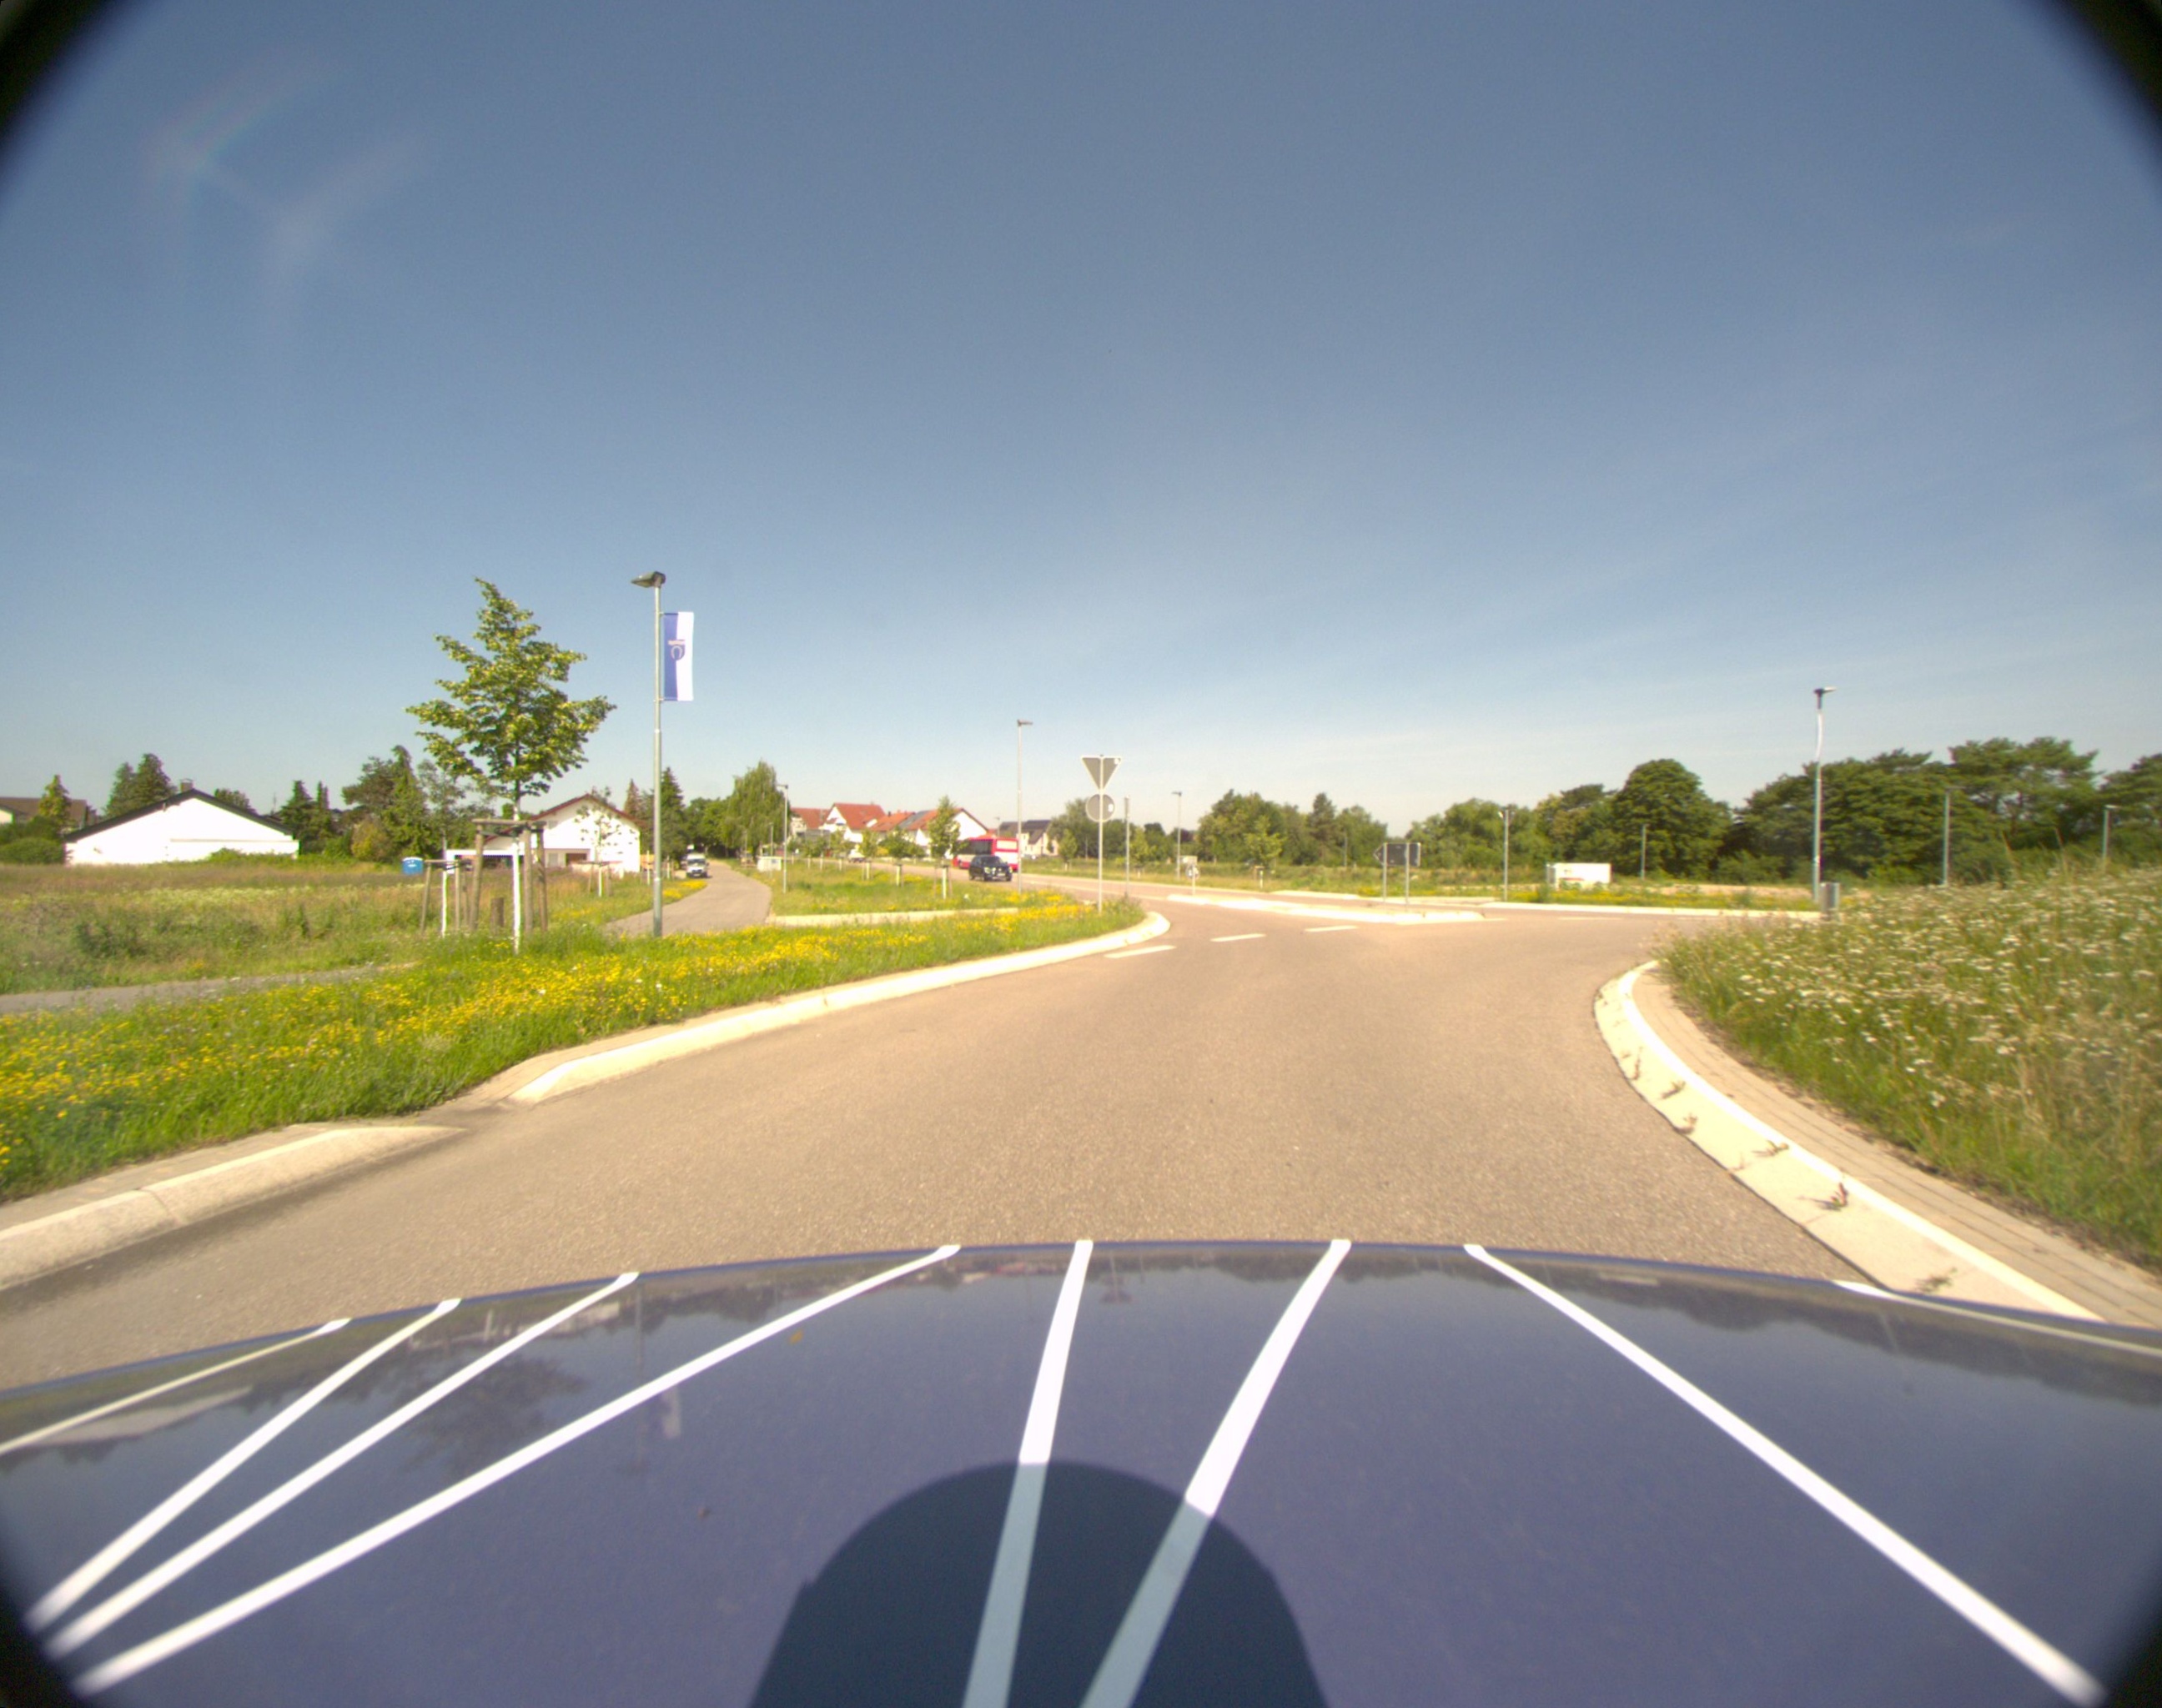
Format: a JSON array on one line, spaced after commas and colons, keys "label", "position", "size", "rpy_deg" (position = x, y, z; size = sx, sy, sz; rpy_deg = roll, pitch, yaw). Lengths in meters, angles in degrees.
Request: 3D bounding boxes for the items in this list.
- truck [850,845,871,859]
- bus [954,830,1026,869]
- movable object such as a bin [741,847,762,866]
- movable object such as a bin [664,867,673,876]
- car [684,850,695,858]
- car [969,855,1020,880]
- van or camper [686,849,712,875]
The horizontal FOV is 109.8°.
[{"label": "truck", "position": [-32.550, -0.286, 111.977], "size": [1.960, 1.973, 5.631], "rpy_deg": [-2, 1, -26]}, {"label": "bus", "position": [-8.719, -0.412, 71.020], "size": [2.808, 3.267, 12.202], "rpy_deg": [2, -1, -26]}, {"label": "movable object such as a bin", "position": [-45.028, 0.362, 103.765], "size": [2.326, 2.448, 6.931], "rpy_deg": [-2, 0, -26]}, {"label": "movable object such as a bin", "position": [-41.383, 1.772, 76.285], "size": [0.695, 0.932, 0.637], "rpy_deg": [-1, 1, -21]}, {"label": "car", "position": [-77.604, -0.061, 150.630], "size": [1.867, 1.437, 4.158], "rpy_deg": [-2, 2, -29]}, {"label": "car", "position": [-5.608, 0.850, 48.894], "size": [1.937, 1.552, 3.991], "rpy_deg": [0, 0, -27]}, {"label": "van or camper", "position": [-40.265, 0.824, 79.992], "size": [2.182, 2.586, 6.016], "rpy_deg": [-1, 1, -29]}]
